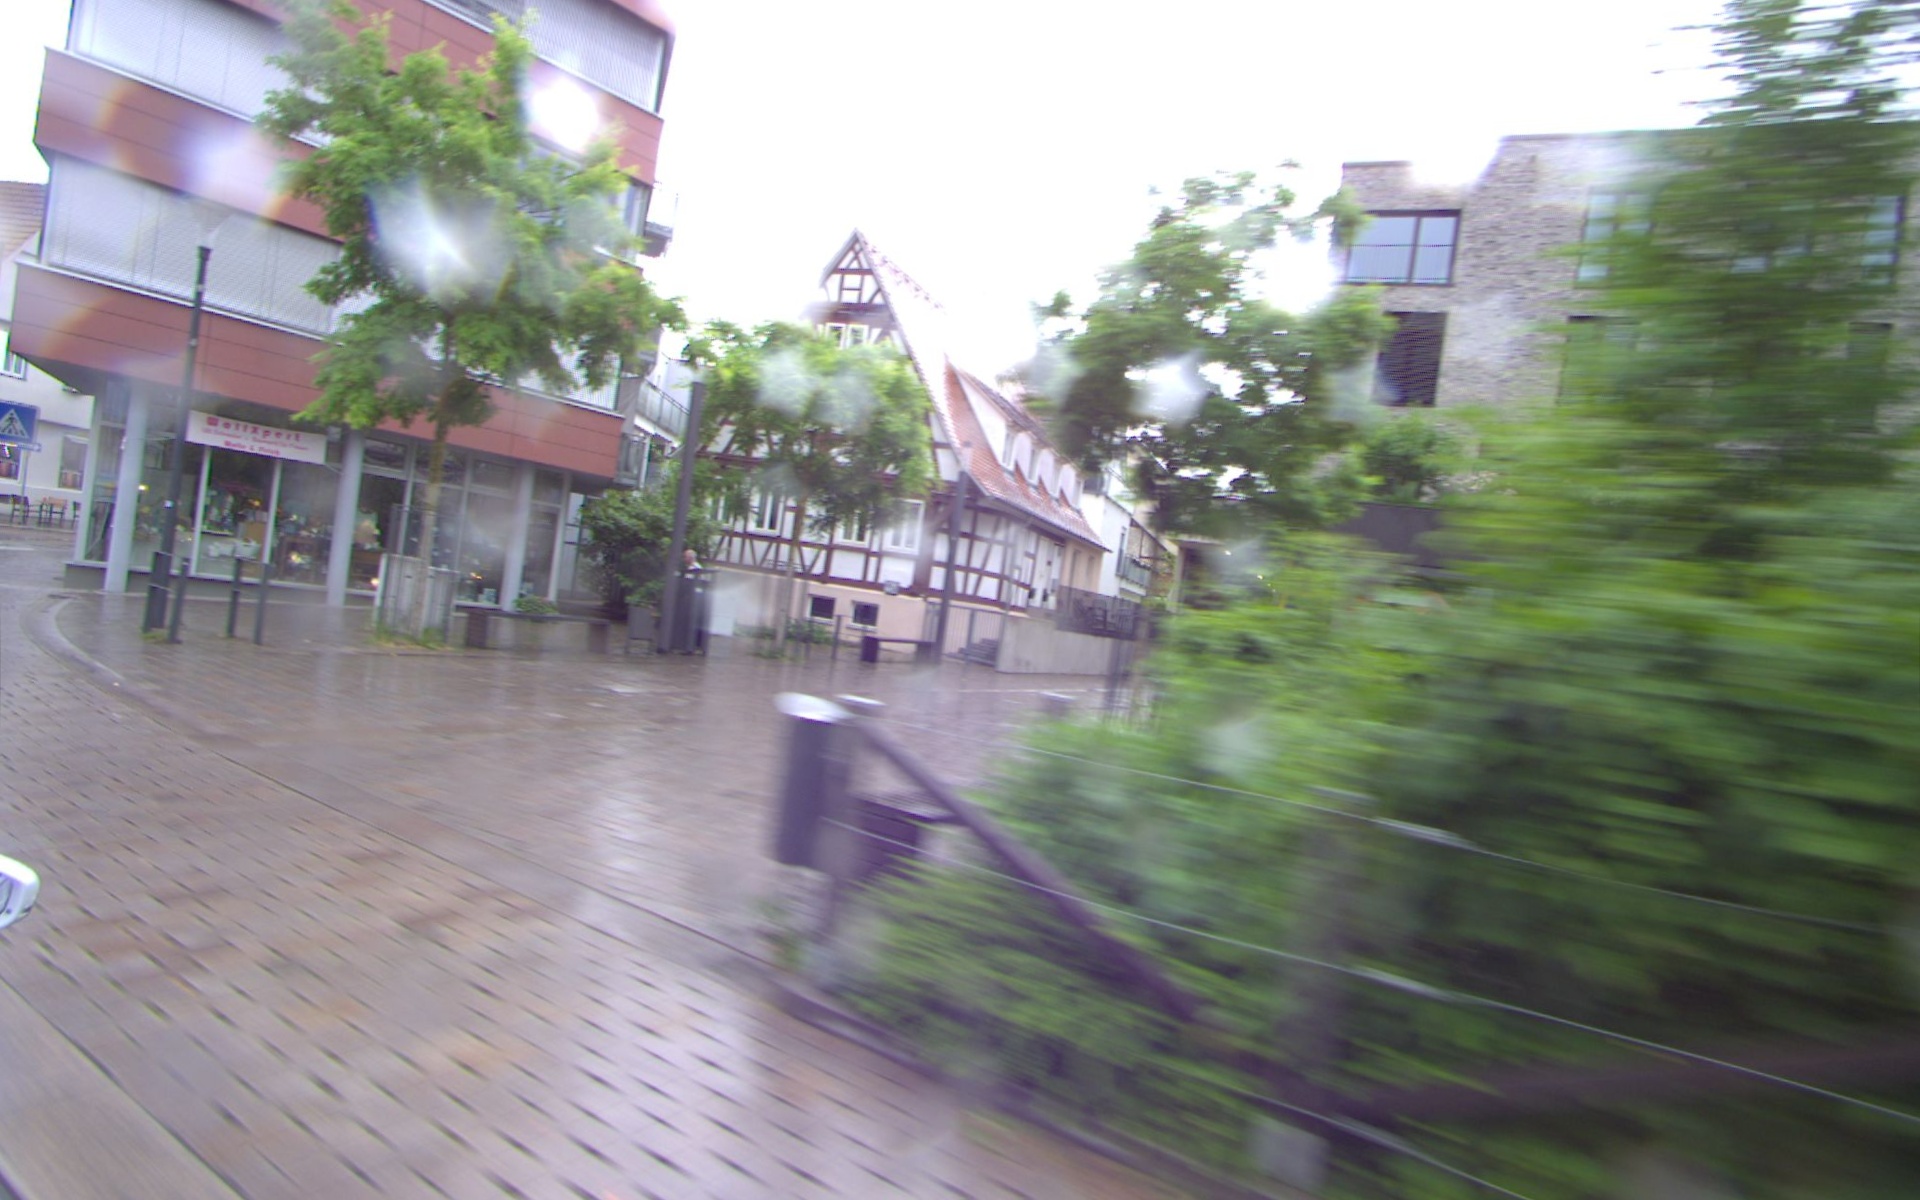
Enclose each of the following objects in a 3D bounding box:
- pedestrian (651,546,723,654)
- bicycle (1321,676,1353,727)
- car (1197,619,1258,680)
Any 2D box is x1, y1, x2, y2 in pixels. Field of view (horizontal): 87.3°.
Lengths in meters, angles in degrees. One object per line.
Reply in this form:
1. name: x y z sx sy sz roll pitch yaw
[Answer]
1. pedestrian: -4.849 0.005 17.838 0.841 1.808 0.699 5 3 -43
2. bicycle: 8.348 2.217 22.233 0.441 0.981 1.704 7 1 25
3. car: 10.626 1.900 39.806 1.962 2.039 3.999 7 1 17
